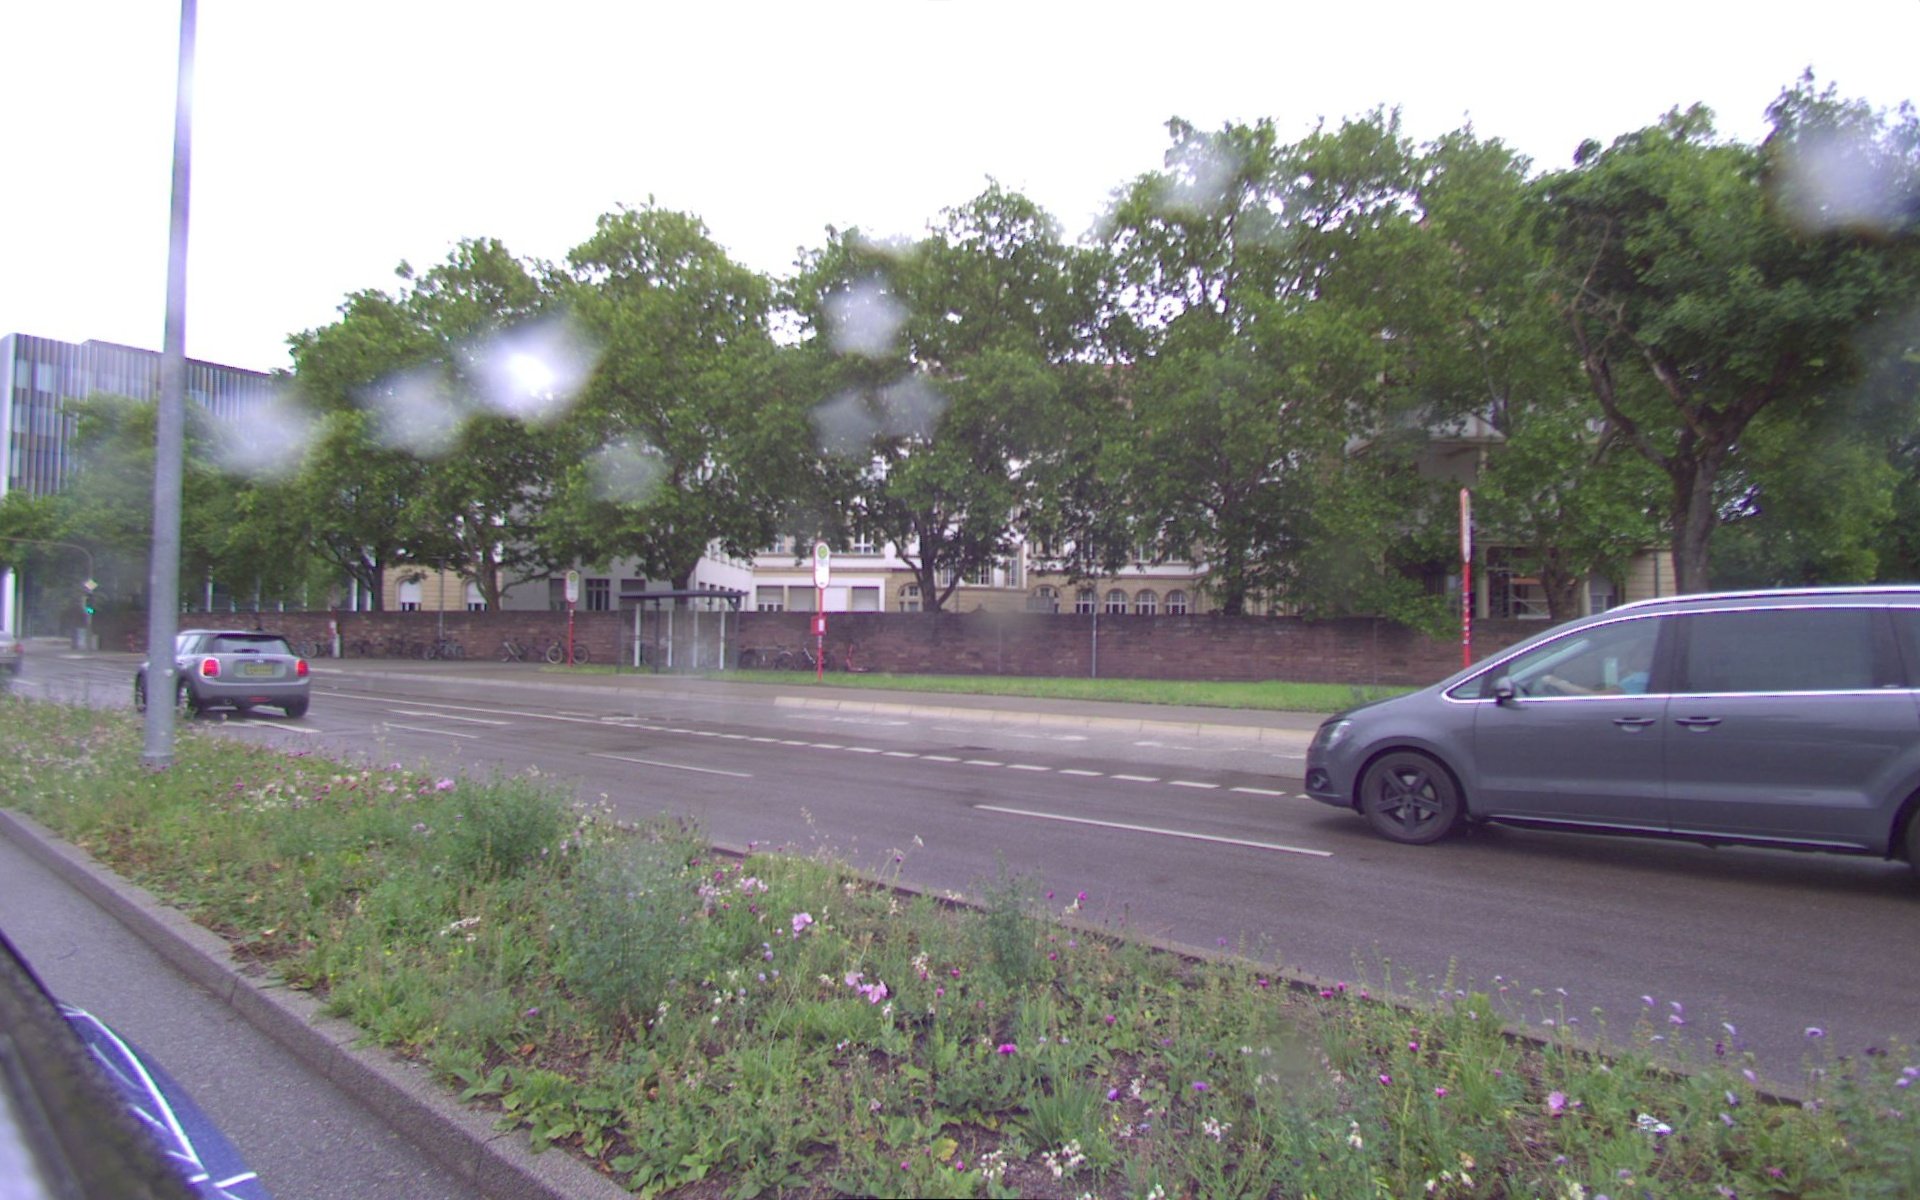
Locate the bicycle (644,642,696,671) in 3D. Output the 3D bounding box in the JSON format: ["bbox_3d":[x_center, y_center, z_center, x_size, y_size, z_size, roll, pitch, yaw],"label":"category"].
[{"bbox_3d":[-11.427,2.219,39.898,1.975,1.144,0.571,-1,-3,18],"label":"bicycle"}]

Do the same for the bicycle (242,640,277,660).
[{"bbox_3d":[-35.564,2.541,51.353,1.692,0.990,0.727,-1,-2,27],"label":"bicycle"}]

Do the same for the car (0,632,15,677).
[{"bbox_3d":[-32.641,1.756,33.323,4.179,1.426,1.677,-1,-3,40],"label":"car"}]

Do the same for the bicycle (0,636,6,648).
[{"bbox_3d":[-94.771,4.105,98.798,0.595,1.231,2.267,-1,-3,25],"label":"bicycle"}]

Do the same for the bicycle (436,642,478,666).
[{"bbox_3d":[-21.589,2.319,43.443,1.692,0.990,0.727,-1,-2,27],"label":"bicycle"}]

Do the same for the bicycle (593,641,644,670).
[{"bbox_3d":[-13.713,2.232,40.623,1.975,1.144,0.571,-1,-3,18],"label":"bicycle"}]

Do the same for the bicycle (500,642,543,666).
[{"bbox_3d":[-18.493,2.262,42.688,1.692,0.990,0.727,-1,-2,27],"label":"bicycle"}]

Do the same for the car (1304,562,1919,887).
[{"bbox_3d":[4.903,0.694,6.557,4.767,1.691,1.753,-2,-3,42],"label":"car"}]

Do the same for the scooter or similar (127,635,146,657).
[{"bbox_3d":[-47.283,2.637,58.097,1.138,1.206,0.388,-1,4,32],"label":"scooter or similar"}]

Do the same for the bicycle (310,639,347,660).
[{"bbox_3d":[-30.176,2.349,48.375,1.692,0.990,0.727,-1,-2,27],"label":"bicycle"}]

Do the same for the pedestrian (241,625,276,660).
[{"bbox_3d":[-34.304,2.076,49.499,1.395,1.708,0.862,-1,-3,32],"label":"pedestrian"}]

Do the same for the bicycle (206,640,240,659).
[{"bbox_3d":[-38.766,2.598,53.242,1.692,0.990,0.727,-1,-2,27],"label":"bicycle"}]

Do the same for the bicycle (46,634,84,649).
[{"bbox_3d":[-73.862,3.408,83.527,0.595,1.231,2.267,-1,-3,25],"label":"bicycle"}]

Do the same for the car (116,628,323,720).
[{"bbox_3d":[-12.662,1.240,17.220,4.115,1.387,1.755,-2,-6,39],"label":"car"}]

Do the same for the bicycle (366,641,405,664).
[{"bbox_3d":[-26.230,2.389,46.227,1.692,0.990,0.727,-1,-2,27],"label":"bicycle"}]

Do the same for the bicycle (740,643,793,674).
[{"bbox_3d":[-7.360,2.221,38.456,1.978,1.144,0.570,-1,-3,22],"label":"bicycle"}]

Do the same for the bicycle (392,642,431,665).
[{"bbox_3d":[-24.659,2.385,45.504,1.692,0.990,0.727,-1,-2,27],"label":"bicycle"}]

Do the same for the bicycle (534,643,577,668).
[{"bbox_3d":[-16.662,2.287,41.703,1.692,0.990,0.727,-1,-2,27],"label":"bicycle"}]

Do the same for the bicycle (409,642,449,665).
[{"bbox_3d":[-23.501,2.365,44.811,1.692,0.990,0.727,-1,-2,27],"label":"bicycle"}]

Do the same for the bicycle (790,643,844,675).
[{"bbox_3d":[-5.370,2.206,37.979,1.978,1.144,0.570,-1,-3,22],"label":"bicycle"}]

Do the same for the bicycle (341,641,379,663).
[{"bbox_3d":[-27.820,2.409,46.939,1.692,0.990,0.727,-1,-2,27],"label":"bicycle"}]

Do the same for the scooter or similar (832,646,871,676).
[{"bbox_3d":[-4.019,2.253,37.482,1.353,1.055,0.570,-1,-3,22],"label":"scooter or similar"}]

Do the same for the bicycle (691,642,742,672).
[{"bbox_3d":[-9.459,2.208,39.301,1.978,1.144,0.570,-1,-3,22],"label":"bicycle"}]

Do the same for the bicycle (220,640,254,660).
[{"bbox_3d":[-37.155,2.557,52.021,1.692,0.990,0.727,-1,-2,27],"label":"bicycle"}]
